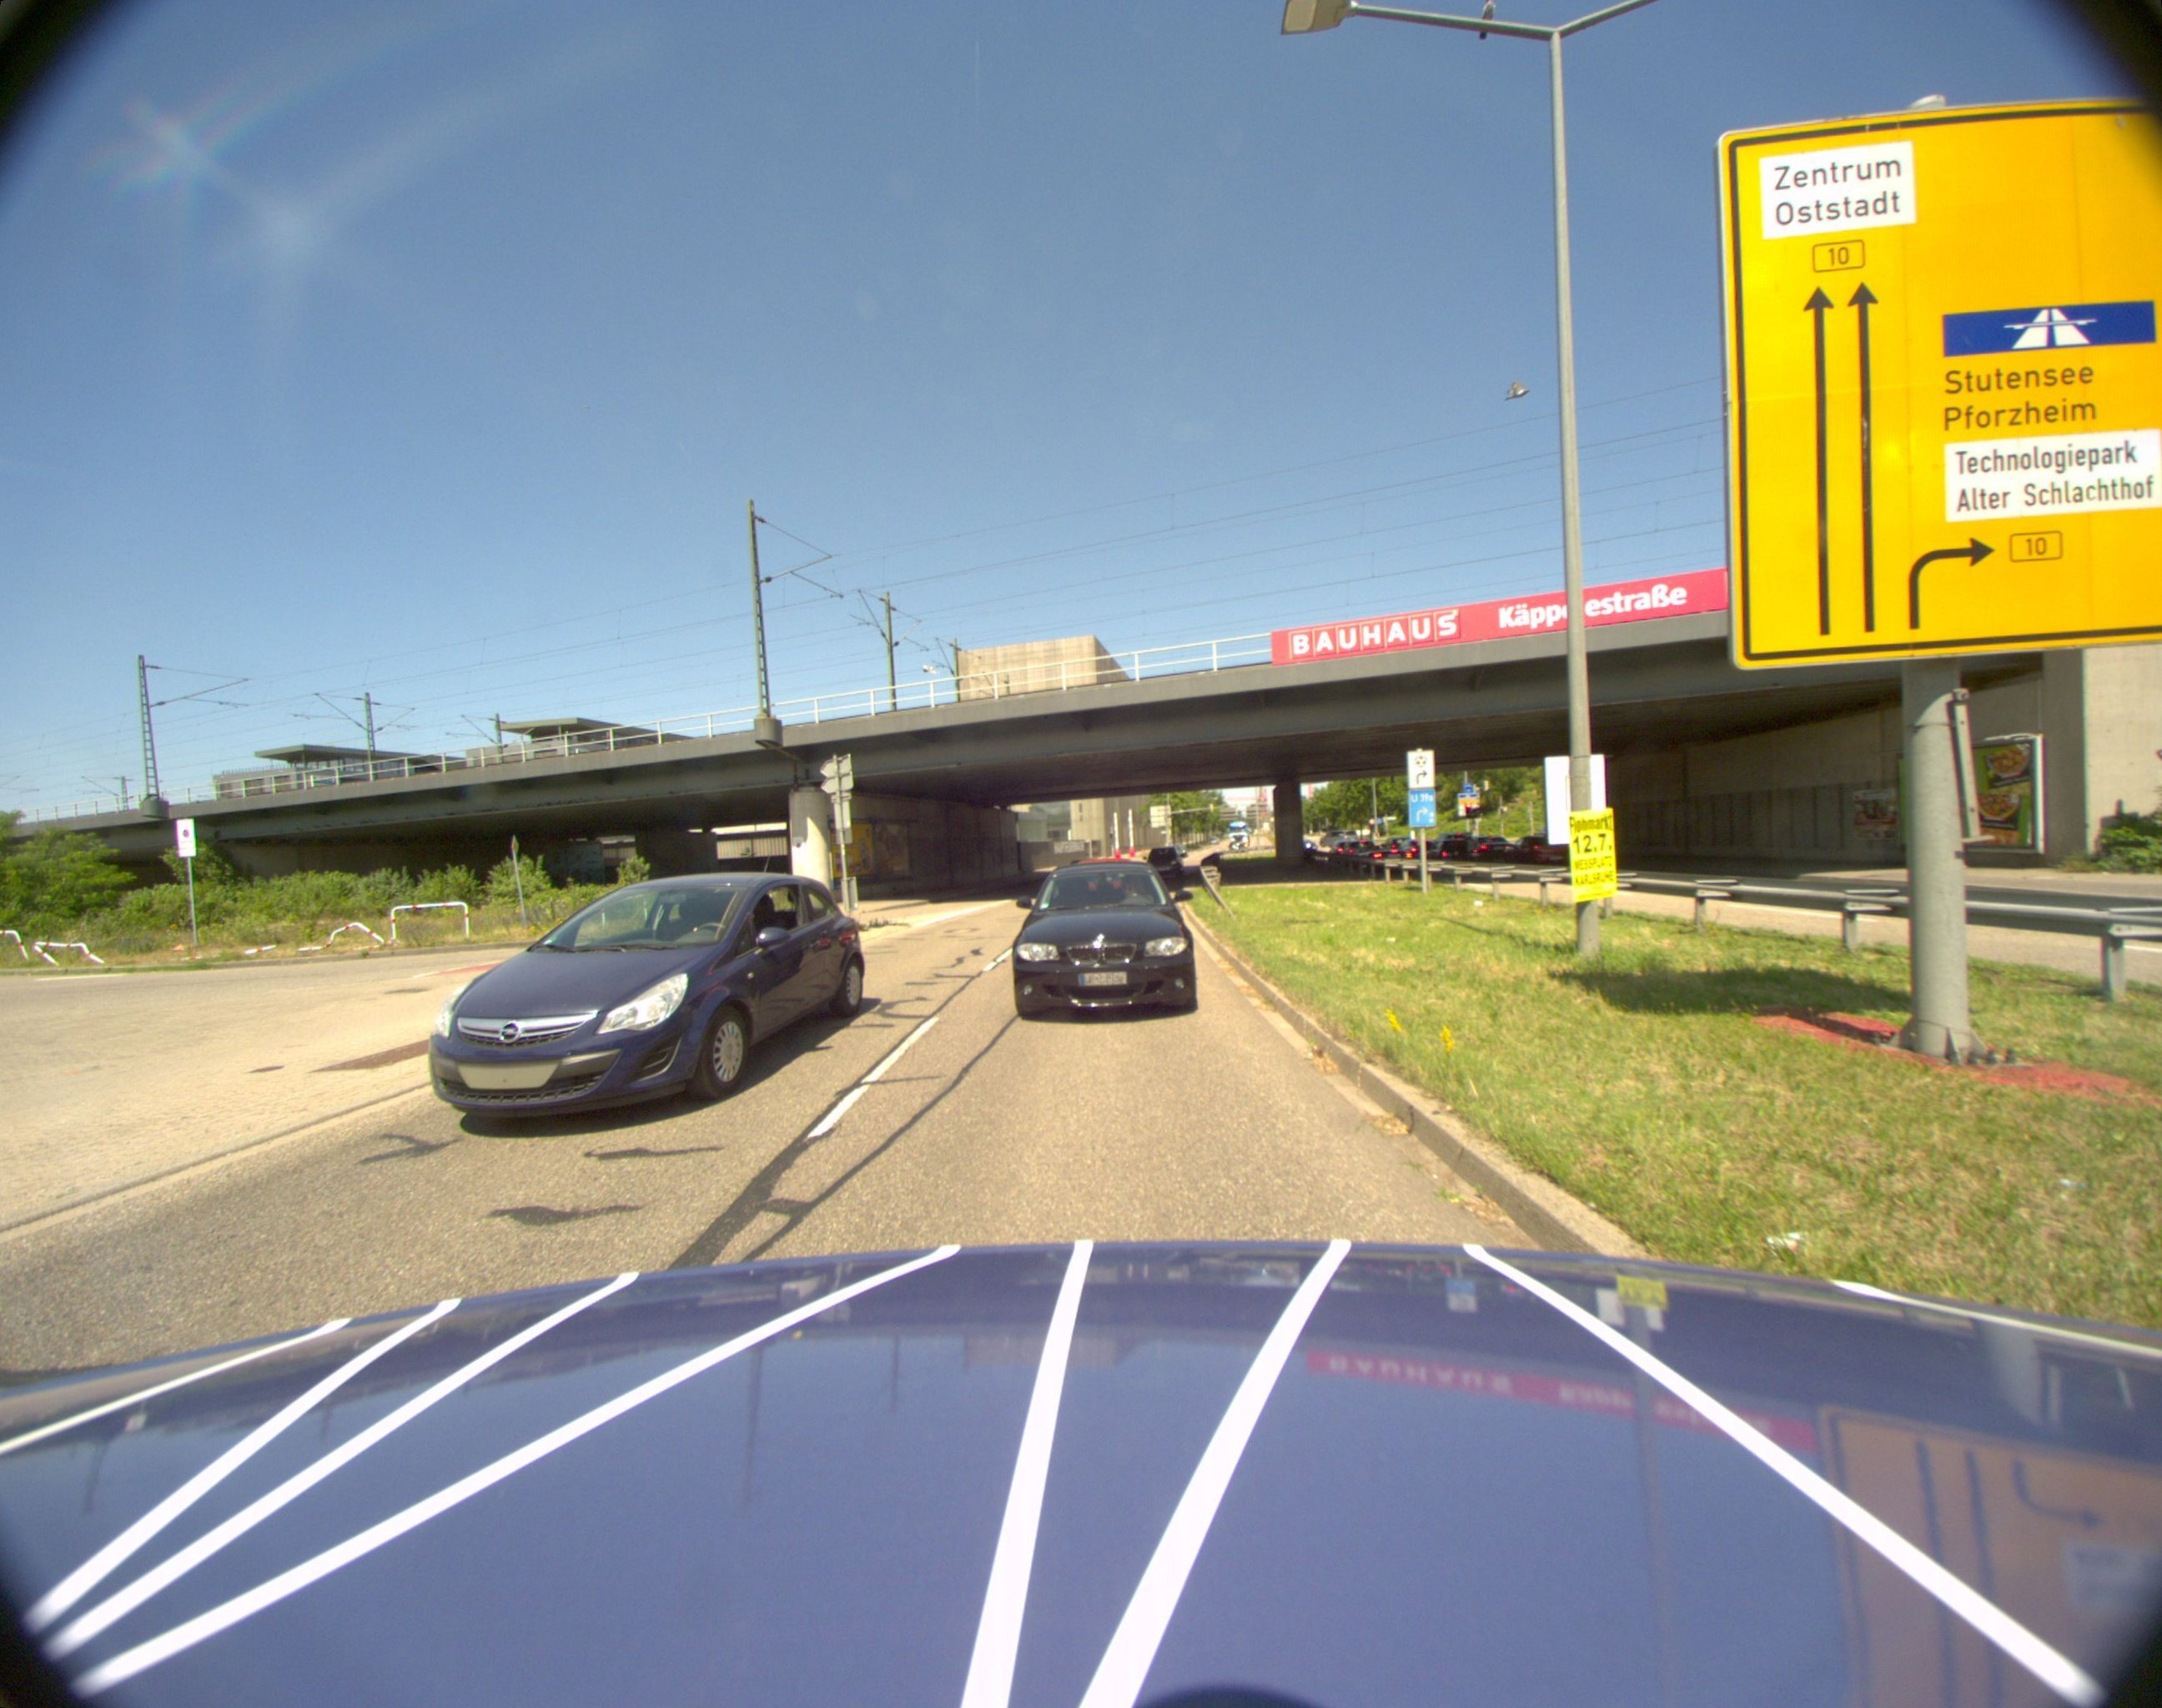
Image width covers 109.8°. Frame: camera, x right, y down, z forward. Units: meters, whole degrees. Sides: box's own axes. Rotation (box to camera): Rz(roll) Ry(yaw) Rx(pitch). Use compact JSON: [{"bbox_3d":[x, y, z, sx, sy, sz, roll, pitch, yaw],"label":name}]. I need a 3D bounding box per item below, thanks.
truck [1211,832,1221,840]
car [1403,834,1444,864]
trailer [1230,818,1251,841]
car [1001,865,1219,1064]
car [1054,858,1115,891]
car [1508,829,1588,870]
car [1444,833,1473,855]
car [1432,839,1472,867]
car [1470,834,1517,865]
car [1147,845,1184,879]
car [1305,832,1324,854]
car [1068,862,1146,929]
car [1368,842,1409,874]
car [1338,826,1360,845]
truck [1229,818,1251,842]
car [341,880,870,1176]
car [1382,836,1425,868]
[{"bbox_3d":[26.487,-3.457,148.783,1.729,1.493,4.003,-2,1,14],"label":"truck"},{"bbox_3d":[18.293,-0.302,40.669,1.617,1.468,3.437,-2,1,19],"label":"car"},{"bbox_3d":[25.275,-3.782,119.929,2.960,3.354,13.905,-2,1,13],"label":"trailer"},{"bbox_3d":[0.150,0.907,8.063,1.682,1.409,4.055,-2,1,-3],"label":"car"},{"bbox_3d":[0.236,0.928,36.005,1.760,1.435,4.058,0,0,18],"label":"car"},{"bbox_3d":[20.623,-0.227,33.713,1.774,1.658,4.018,-2,1,12],"label":"car"},{"bbox_3d":[22.899,-0.627,46.171,1.184,1.241,2.695,-2,1,19],"label":"car"},{"bbox_3d":[17.051,-0.072,34.998,1.269,1.178,2.781,-2,1,19],"label":"car"},{"bbox_3d":[21.421,-0.247,39.539,1.572,1.494,3.411,-2,1,19],"label":"car"},{"bbox_3d":[4.488,0.407,40.807,1.845,1.686,3.700,-2,1,5],"label":"car"},{"bbox_3d":[22.591,-1.107,73.624,1.676,2.002,4.004,-2,1,16],"label":"car"},{"bbox_3d":[0.638,0.908,18.245,1.646,1.390,4.053,0,0,2],"label":"car"},{"bbox_3d":[13.664,0.152,33.918,1.410,1.311,3.265,-2,1,18],"label":"car"},{"bbox_3d":[29.467,-2.017,83.656,1.996,2.002,4.004,-2,1,16],"label":"car"},{"bbox_3d":[23.892,-3.581,113.921,3.017,3.397,6.572,-2,1,13],"label":"truck"},{"bbox_3d":[-3.123,1.013,6.065,1.650,1.435,3.891,-2,0,2],"label":"car"},{"bbox_3d":[20.178,-0.148,47.704,1.905,1.849,4.004,-2,1,15],"label":"car"}]
